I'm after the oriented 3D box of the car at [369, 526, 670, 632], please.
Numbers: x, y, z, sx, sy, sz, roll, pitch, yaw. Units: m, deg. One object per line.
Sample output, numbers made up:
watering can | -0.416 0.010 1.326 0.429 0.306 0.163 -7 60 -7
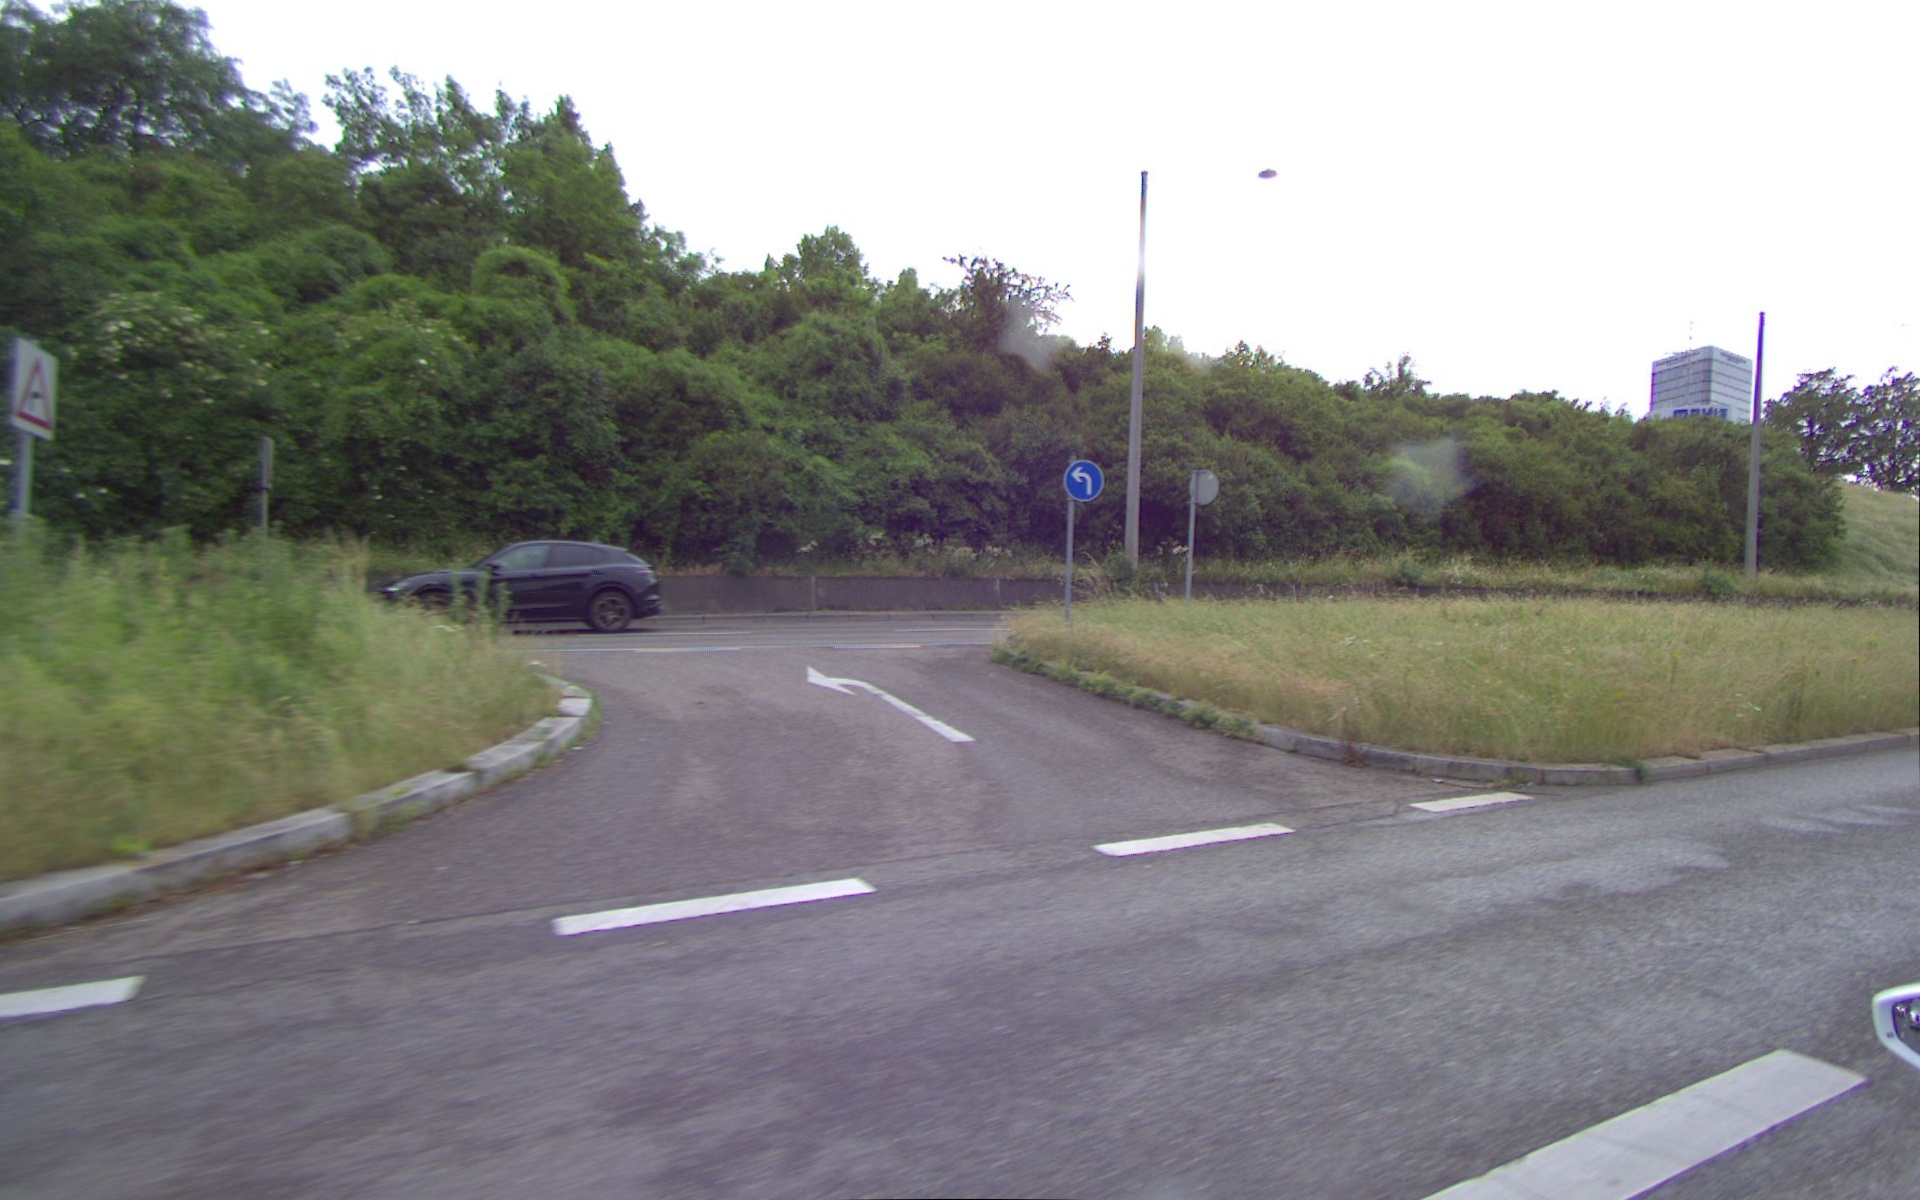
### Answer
car | -7.761 -0.347 17.930 4.663 1.659 1.985 1 2 -28
